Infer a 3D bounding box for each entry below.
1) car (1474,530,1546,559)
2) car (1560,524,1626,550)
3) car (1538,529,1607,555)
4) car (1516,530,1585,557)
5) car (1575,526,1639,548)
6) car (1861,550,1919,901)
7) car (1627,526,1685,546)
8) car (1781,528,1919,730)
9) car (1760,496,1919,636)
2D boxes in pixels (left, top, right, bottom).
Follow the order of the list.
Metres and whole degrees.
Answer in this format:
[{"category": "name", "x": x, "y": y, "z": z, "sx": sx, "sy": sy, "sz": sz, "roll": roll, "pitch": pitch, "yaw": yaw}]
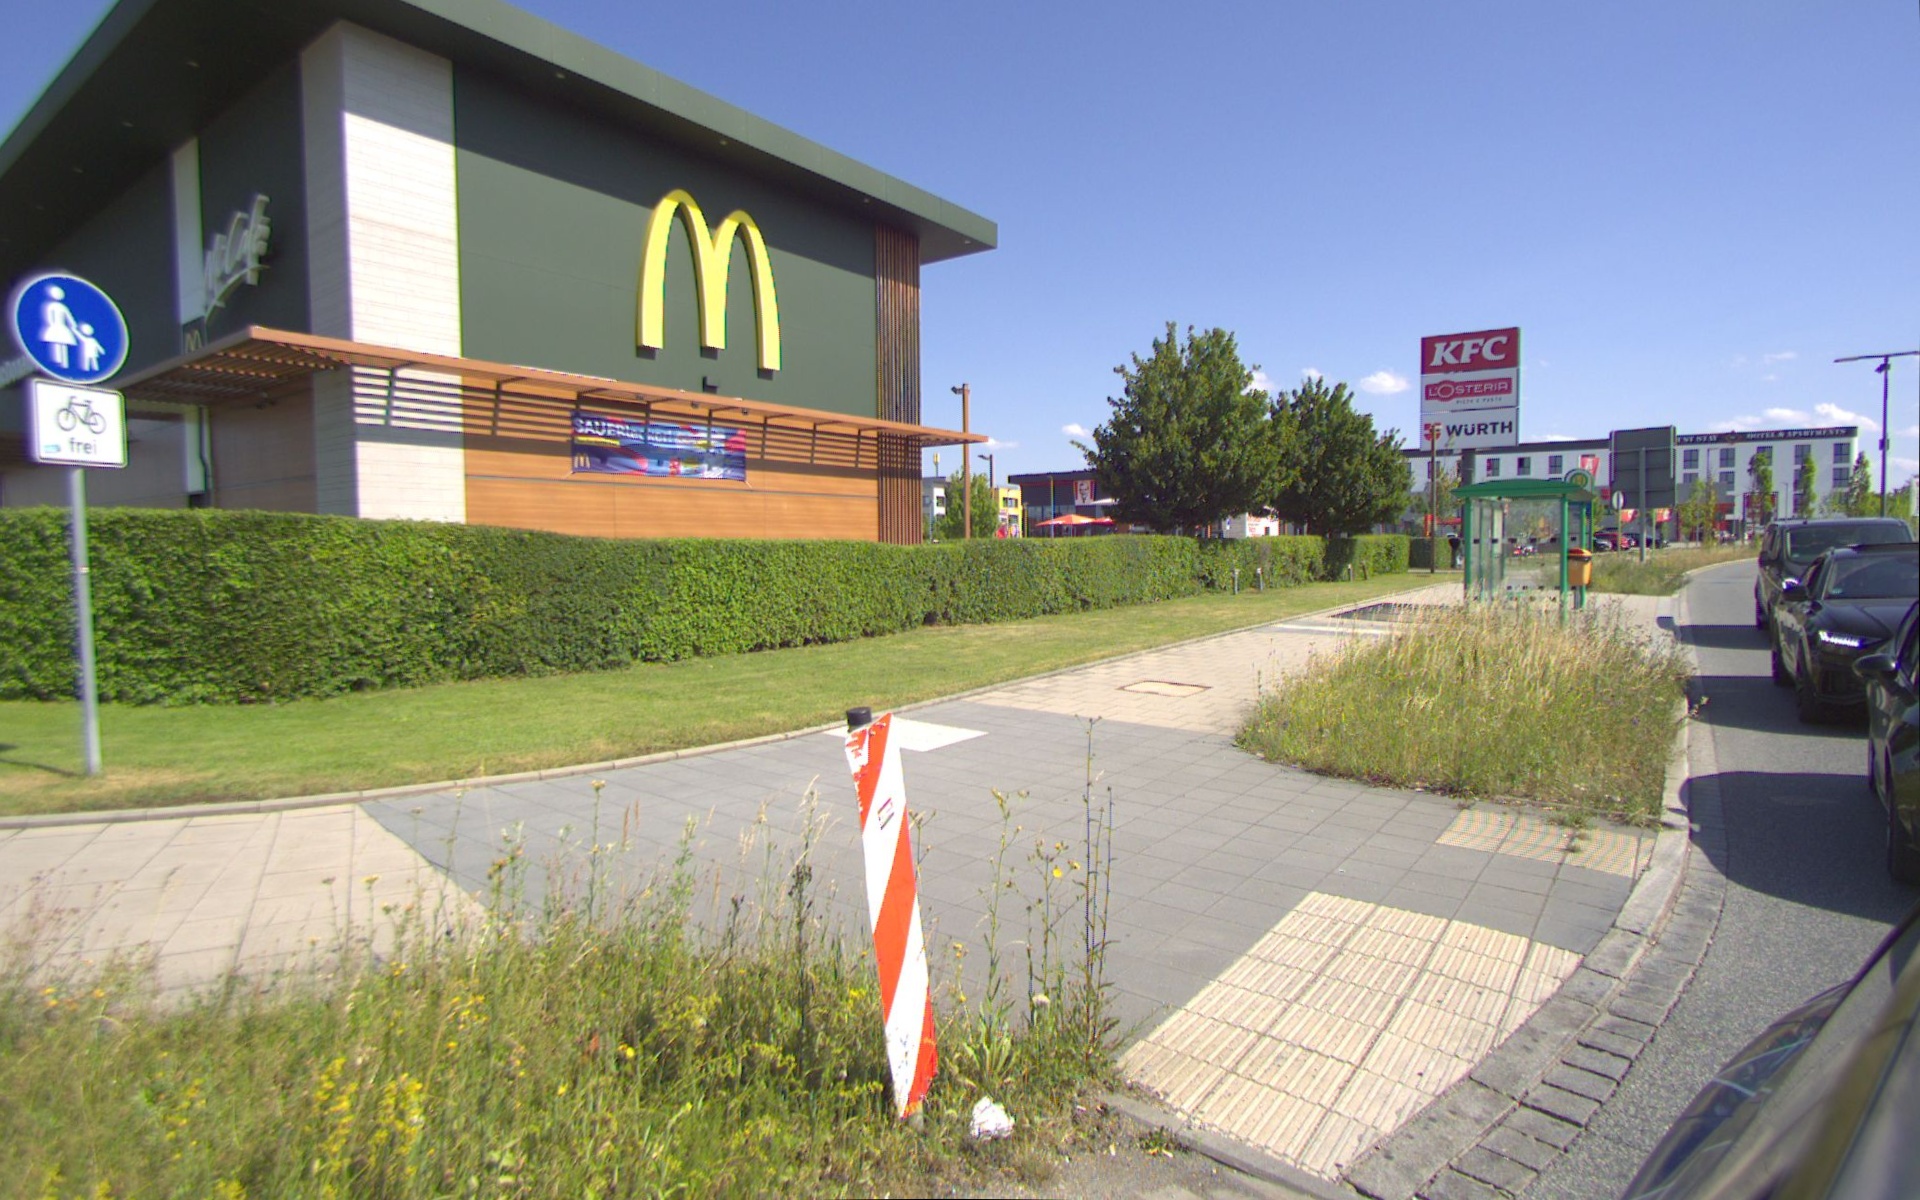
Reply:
[{"category": "car", "x": 39.930, "y": -3.994, "z": 73.507, "sx": 1.898, "sy": 2.038, "sz": 4.185, "roll": -3, "pitch": 4, "yaw": -38}, {"category": "car", "x": 51.339, "y": -5.121, "z": 82.103, "sx": 1.900, "sy": 2.038, "sz": 4.182, "roll": -3, "pitch": 4, "yaw": -40}, {"category": "car", "x": 47.607, "y": -4.498, "z": 78.717, "sx": 1.769, "sy": 1.880, "sz": 4.188, "roll": -3, "pitch": 3, "yaw": -35}, {"category": "car", "x": 45.388, "y": -4.351, "z": 77.788, "sx": 1.899, "sy": 2.038, "sz": 4.184, "roll": -3, "pitch": 4, "yaw": -38}, {"category": "car", "x": 53.808, "y": -5.213, "z": 84.217, "sx": 1.790, "sy": 1.783, "sz": 4.188, "roll": -3, "pitch": 4, "yaw": -35}, {"category": "car", "x": 5.987, "y": 0.493, "z": 5.295, "sx": 1.856, "sy": 1.486, "sz": 3.941, "roll": 2, "pitch": 4, "yaw": 42}, {"category": "car", "x": 59.786, "y": -5.494, "z": 86.967, "sx": 1.726, "sy": 1.639, "sz": 3.821, "roll": -3, "pitch": 4, "yaw": -39}, {"category": "car", "x": 9.558, "y": 0.155, "z": 10.253, "sx": 1.853, "sy": 1.709, "sz": 3.946, "roll": -2, "pitch": 2, "yaw": 39}, {"category": "car", "x": 15.036, "y": -0.616, "z": 17.295, "sx": 2.070, "sy": 2.073, "sz": 4.620, "roll": -2, "pitch": 2, "yaw": 39}]
